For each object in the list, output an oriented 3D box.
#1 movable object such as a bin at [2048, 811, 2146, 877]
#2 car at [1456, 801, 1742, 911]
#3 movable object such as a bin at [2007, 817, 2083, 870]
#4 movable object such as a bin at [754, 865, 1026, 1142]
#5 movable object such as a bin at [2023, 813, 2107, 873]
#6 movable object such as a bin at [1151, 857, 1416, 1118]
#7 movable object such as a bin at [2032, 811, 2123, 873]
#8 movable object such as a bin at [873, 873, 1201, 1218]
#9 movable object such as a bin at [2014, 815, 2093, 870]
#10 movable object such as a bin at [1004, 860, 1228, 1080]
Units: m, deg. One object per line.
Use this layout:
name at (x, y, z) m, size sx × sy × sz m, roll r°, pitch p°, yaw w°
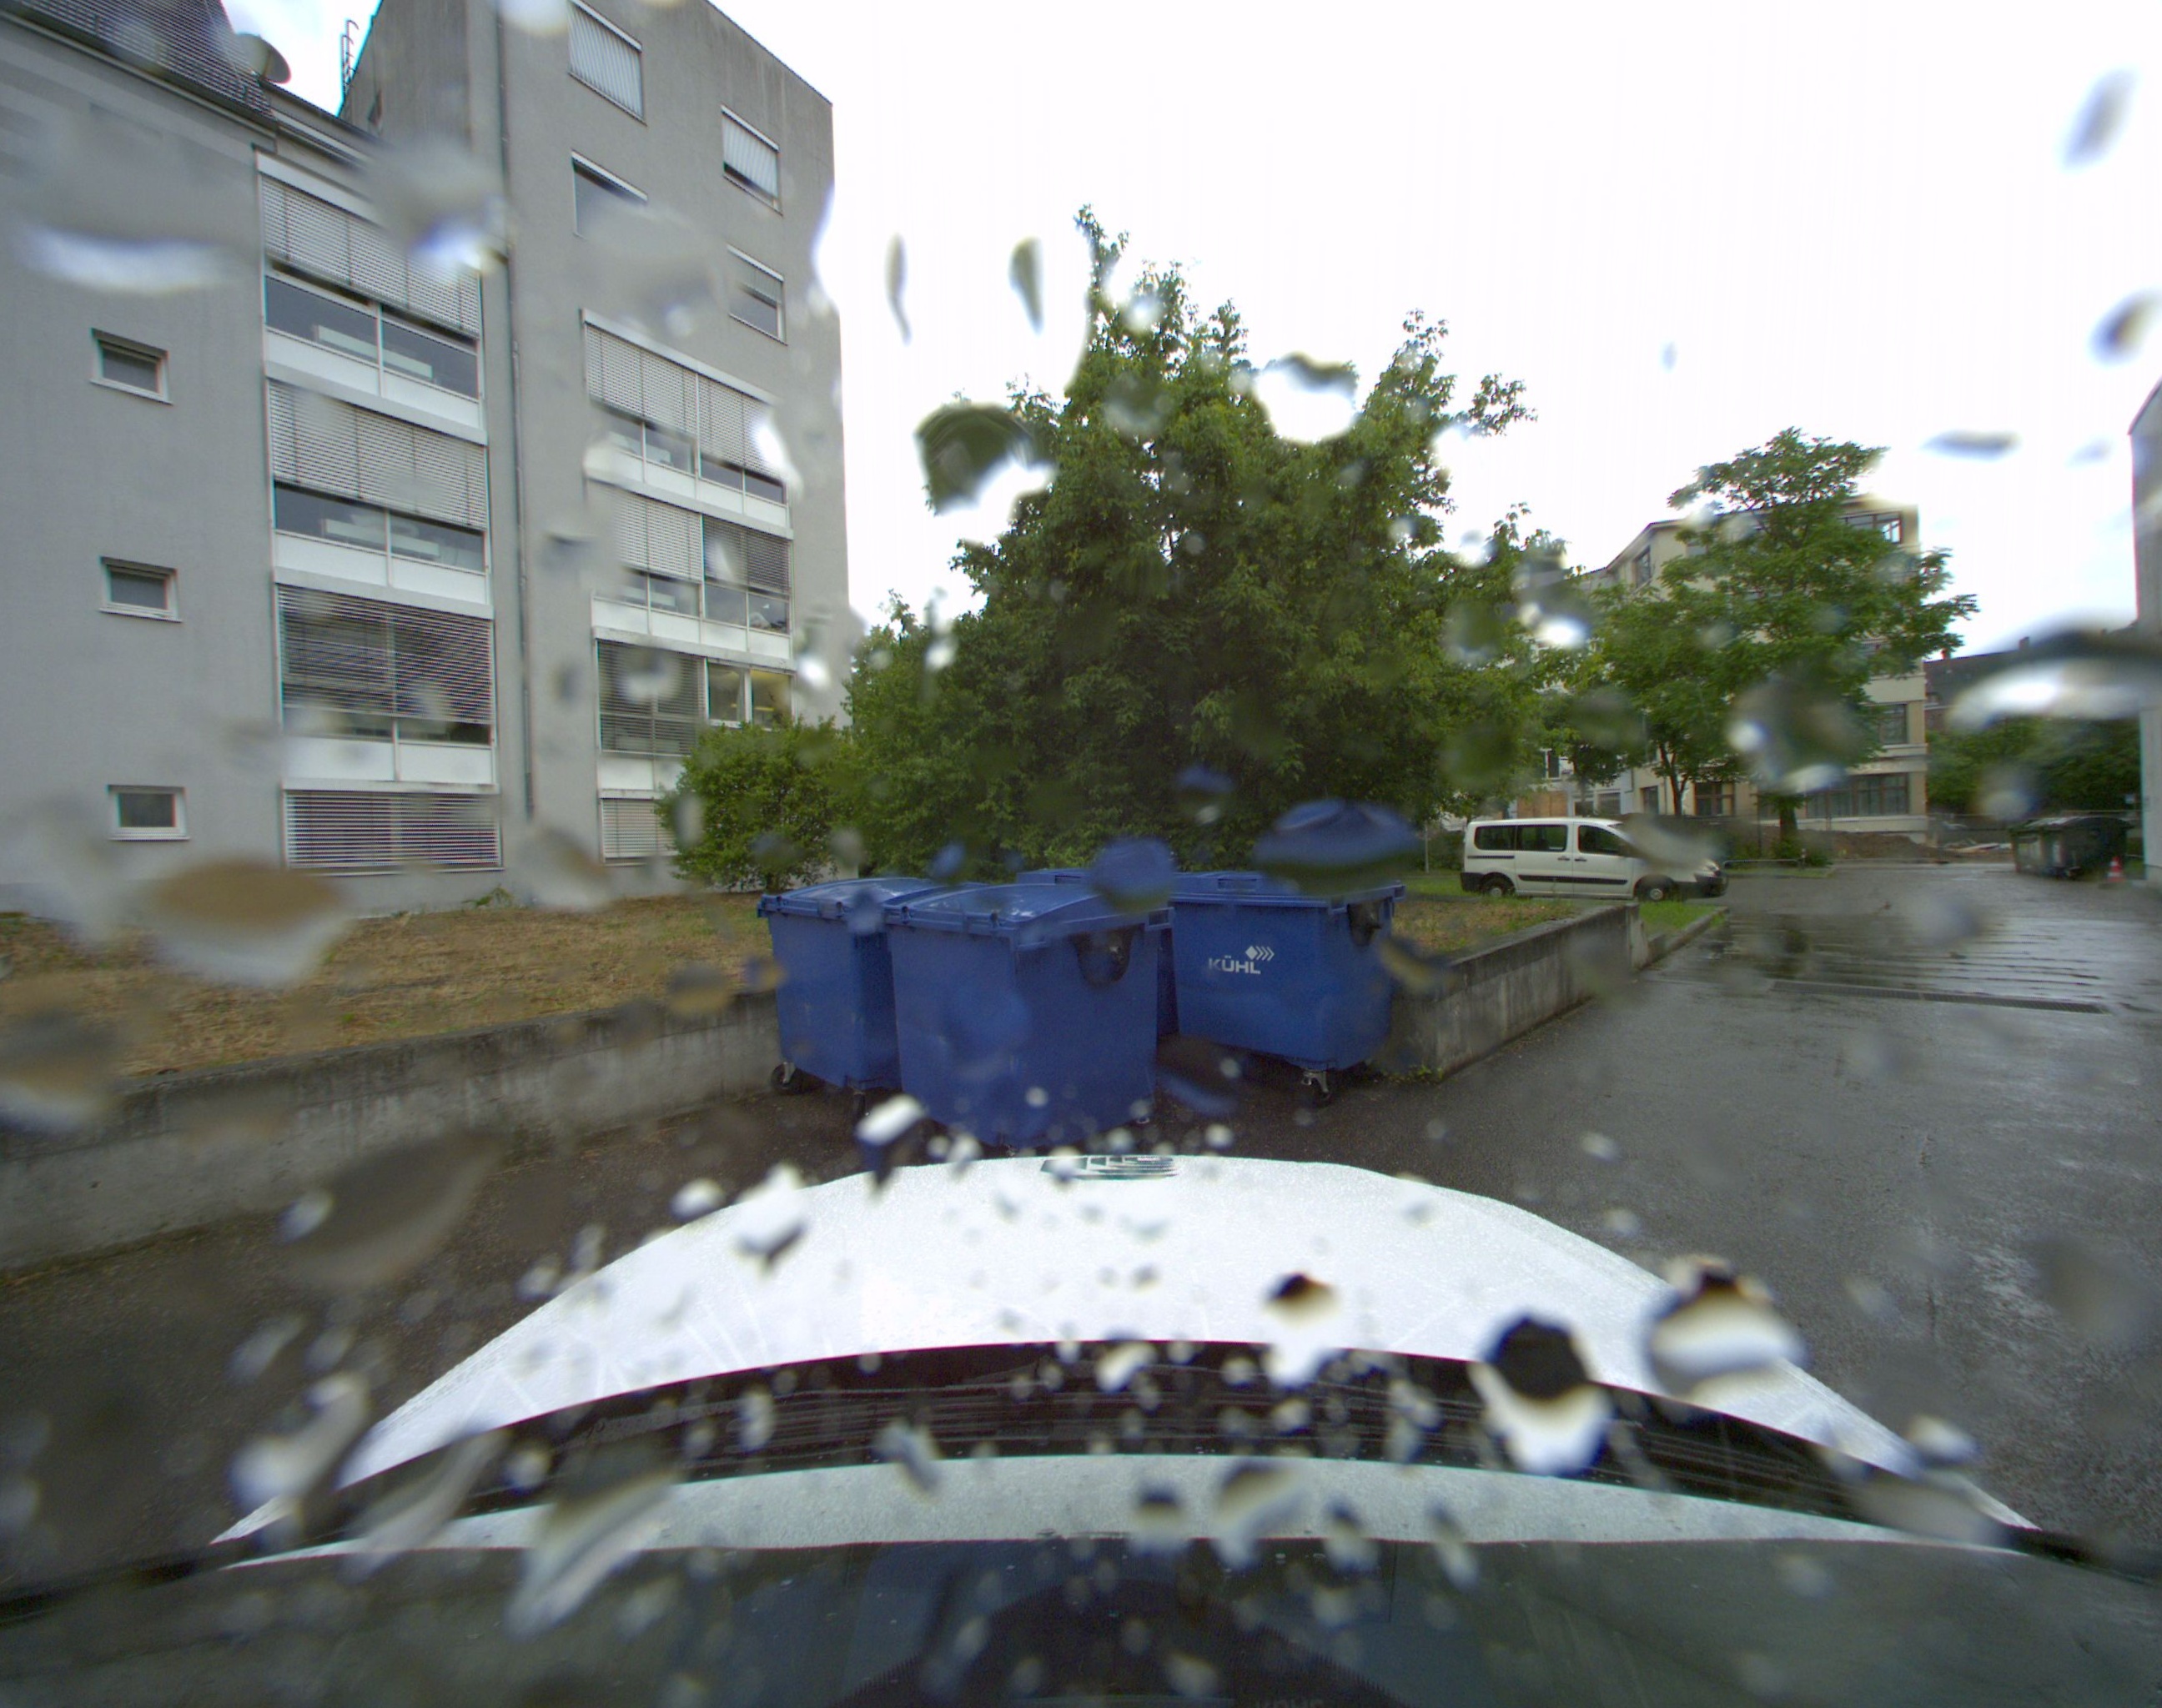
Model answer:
movable object such as a bin at (22.955, -0.199, 18.441) m, size 1.203 × 1.437 × 1.243 m, roll -1°, pitch -2°, yaw 43°
car at (10.863, 0.074, 17.356) m, size 2.012 × 2.013 × 4.737 m, roll -3°, pitch 0°, yaw -44°
movable object such as a bin at (27.109, -0.269, 22.937) m, size 1.203 × 1.437 × 1.266 m, roll -1°, pitch -2°, yaw 43°
movable object such as a bin at (-1.176, 0.786, 5.010) m, size 1.123 × 1.336 × 1.192 m, roll -5°, pitch 4°, yaw -44°
movable object such as a bin at (25.222, -0.260, 20.905) m, size 1.203 × 1.468 × 1.243 m, roll -1°, pitch -2°, yaw 43°
movable object such as a bin at (1.248, 0.714, 5.070) m, size 1.012 × 1.337 × 1.210 m, roll -3°, pitch 1°, yaw -44°
movable object such as a bin at (24.083, -0.272, 19.725) m, size 1.203 × 1.437 × 1.302 m, roll -1°, pitch -2°, yaw 43°
movable object such as a bin at (-0.240, 0.787, 4.092) m, size 1.122 × 1.337 × 1.192 m, roll -2°, pitch 0°, yaw -41°
movable object such as a bin at (26.151, -0.282, 21.934) m, size 1.203 × 1.437 × 1.266 m, roll -1°, pitch -2°, yaw 43°
movable object such as a bin at (0.243, 0.743, 5.922) m, size 1.012 × 1.337 × 1.210 m, roll -4°, pitch 2°, yaw -44°
